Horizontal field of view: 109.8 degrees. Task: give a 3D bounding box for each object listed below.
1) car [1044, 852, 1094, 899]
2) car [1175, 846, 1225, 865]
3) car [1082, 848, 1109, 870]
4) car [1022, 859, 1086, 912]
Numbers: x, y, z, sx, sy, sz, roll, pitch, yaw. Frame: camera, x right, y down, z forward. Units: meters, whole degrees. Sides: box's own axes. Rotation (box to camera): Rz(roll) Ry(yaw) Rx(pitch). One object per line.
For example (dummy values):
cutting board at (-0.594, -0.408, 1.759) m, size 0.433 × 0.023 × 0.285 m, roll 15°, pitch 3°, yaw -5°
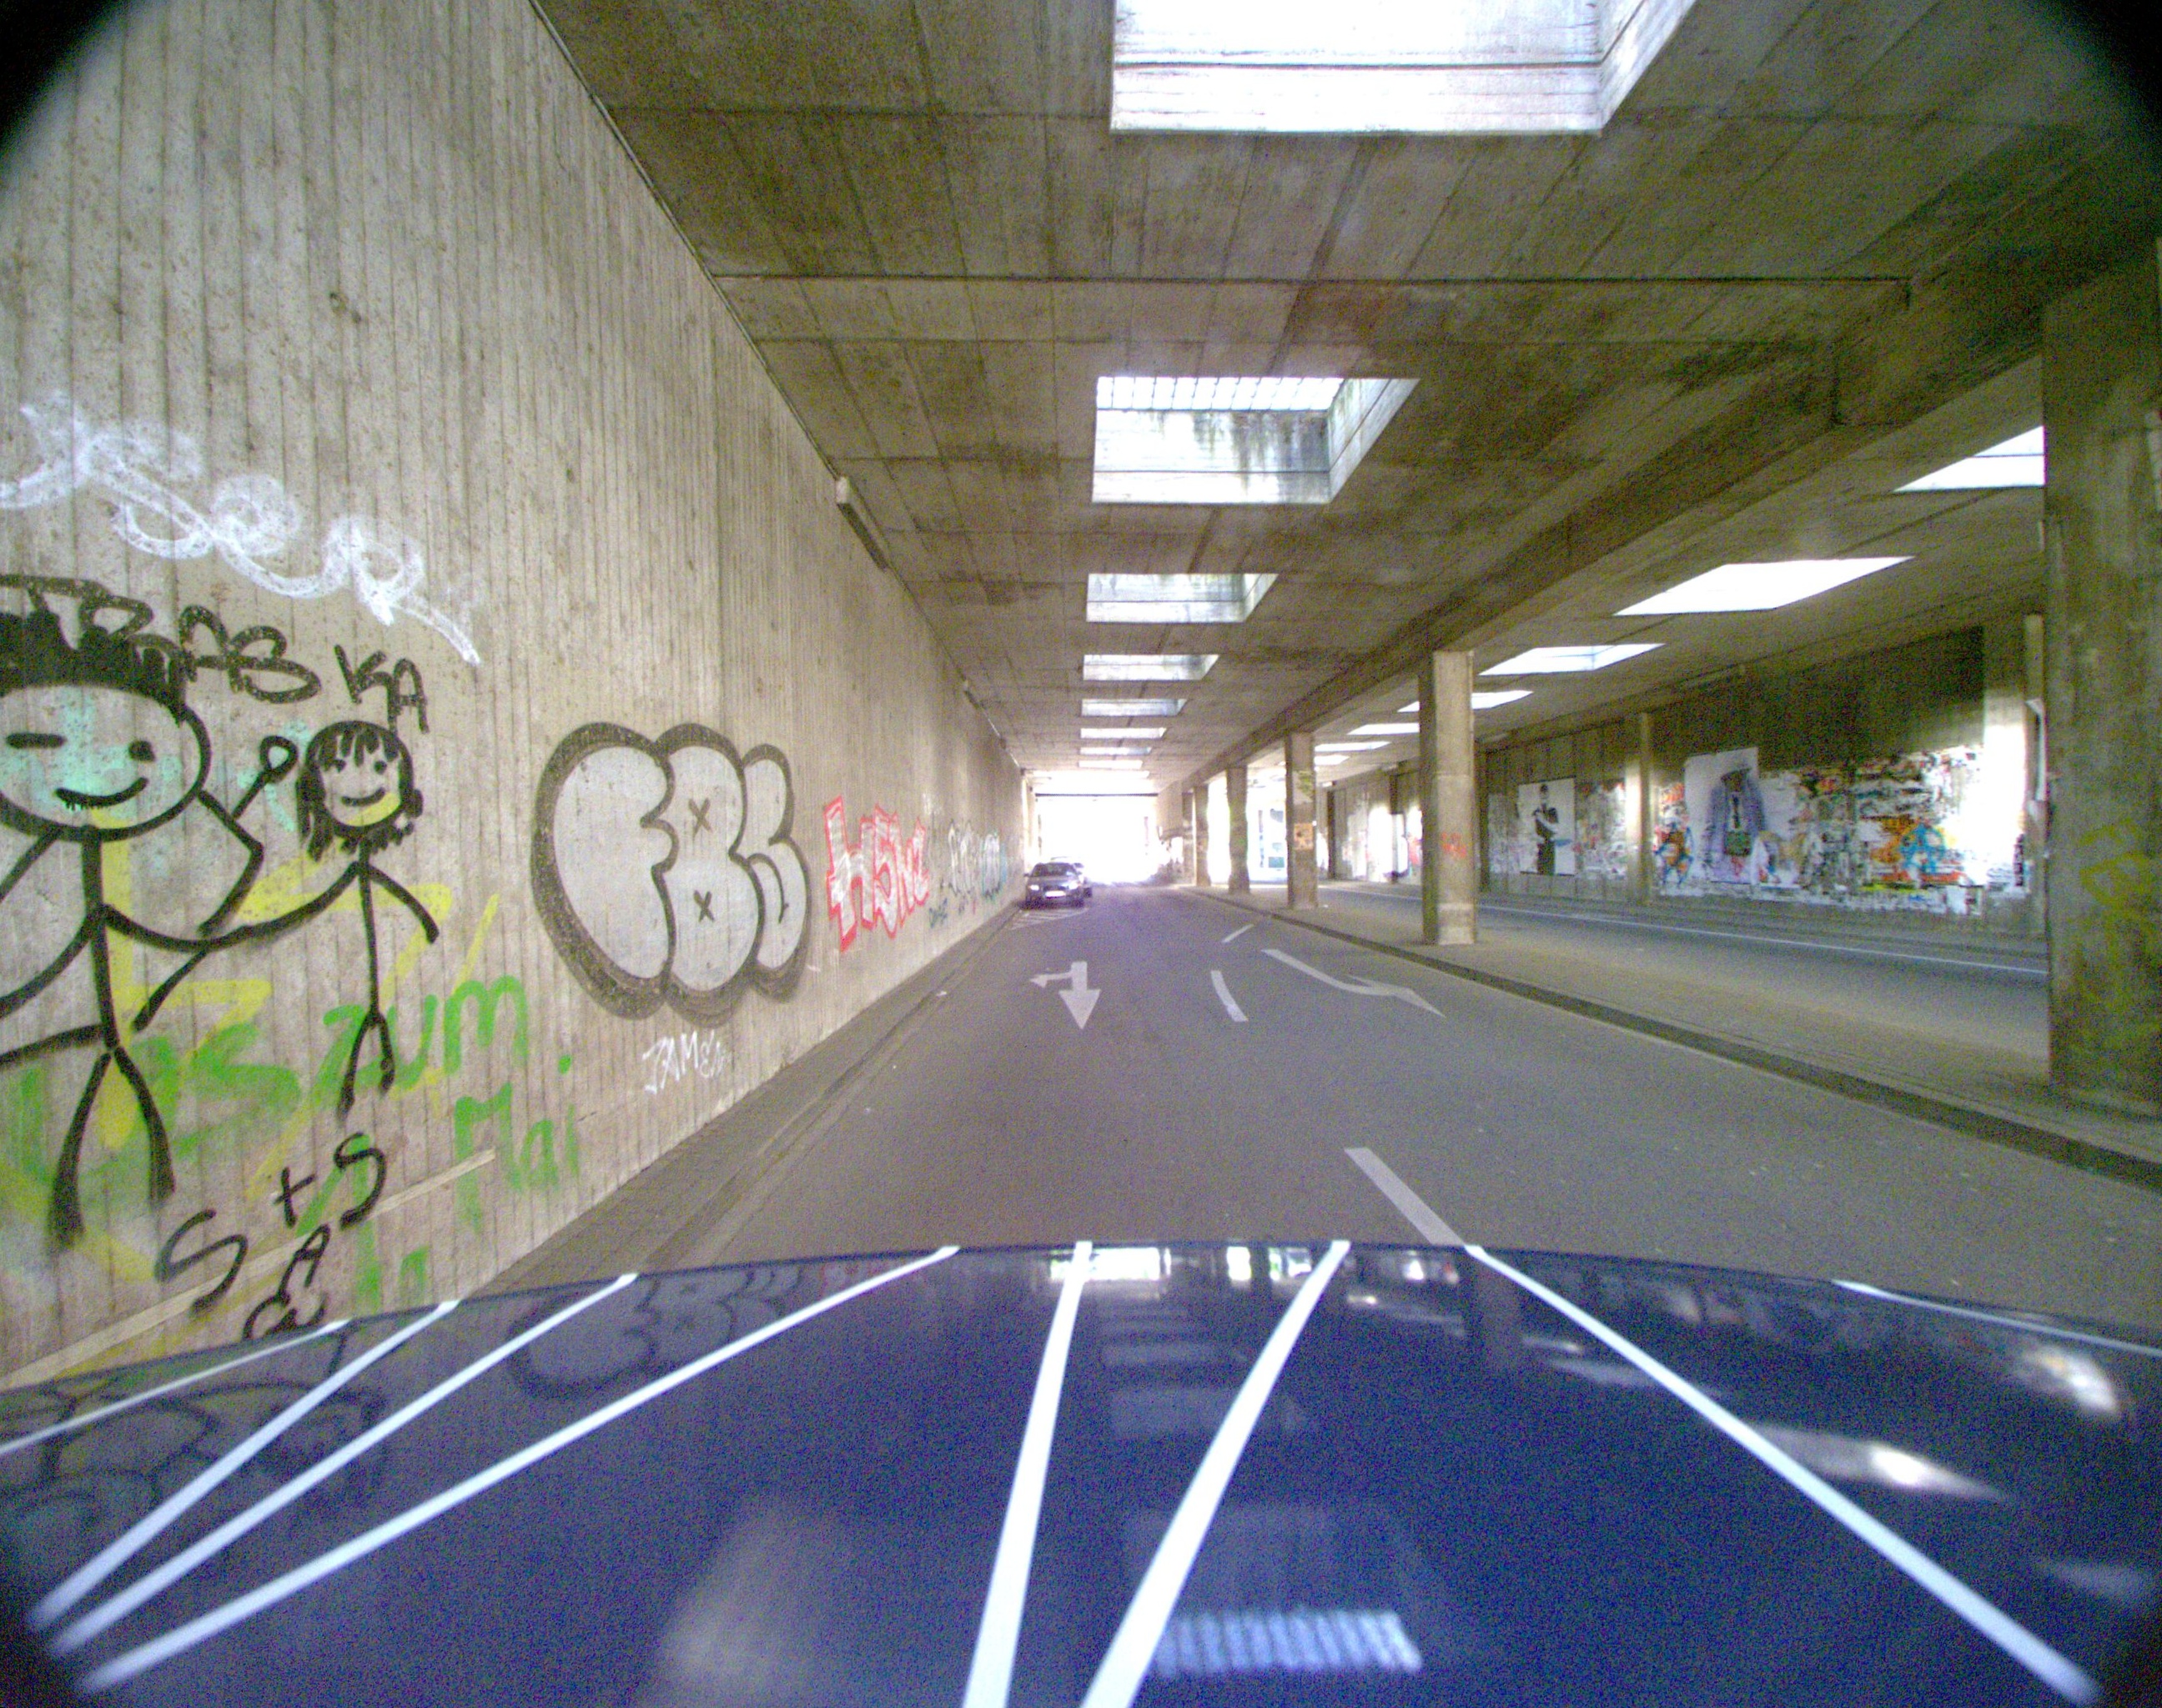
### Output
car at (-0.501, 0.766, 29.781) m, size 1.767 × 1.634 × 3.999 m, roll -2°, pitch 1°, yaw -2°
car at (12.404, 0.153, 79.277) m, size 4.857 × 1.740 × 1.999 m, roll -2°, pitch 1°, yaw -2°
car at (1.239, 0.387, 66.274) m, size 1.999 × 1.740 × 4.858 m, roll -2°, pitch 1°, yaw -2°
car at (-0.780, 0.921, 24.048) m, size 1.767 × 1.407 × 3.999 m, roll -2°, pitch 1°, yaw 1°
